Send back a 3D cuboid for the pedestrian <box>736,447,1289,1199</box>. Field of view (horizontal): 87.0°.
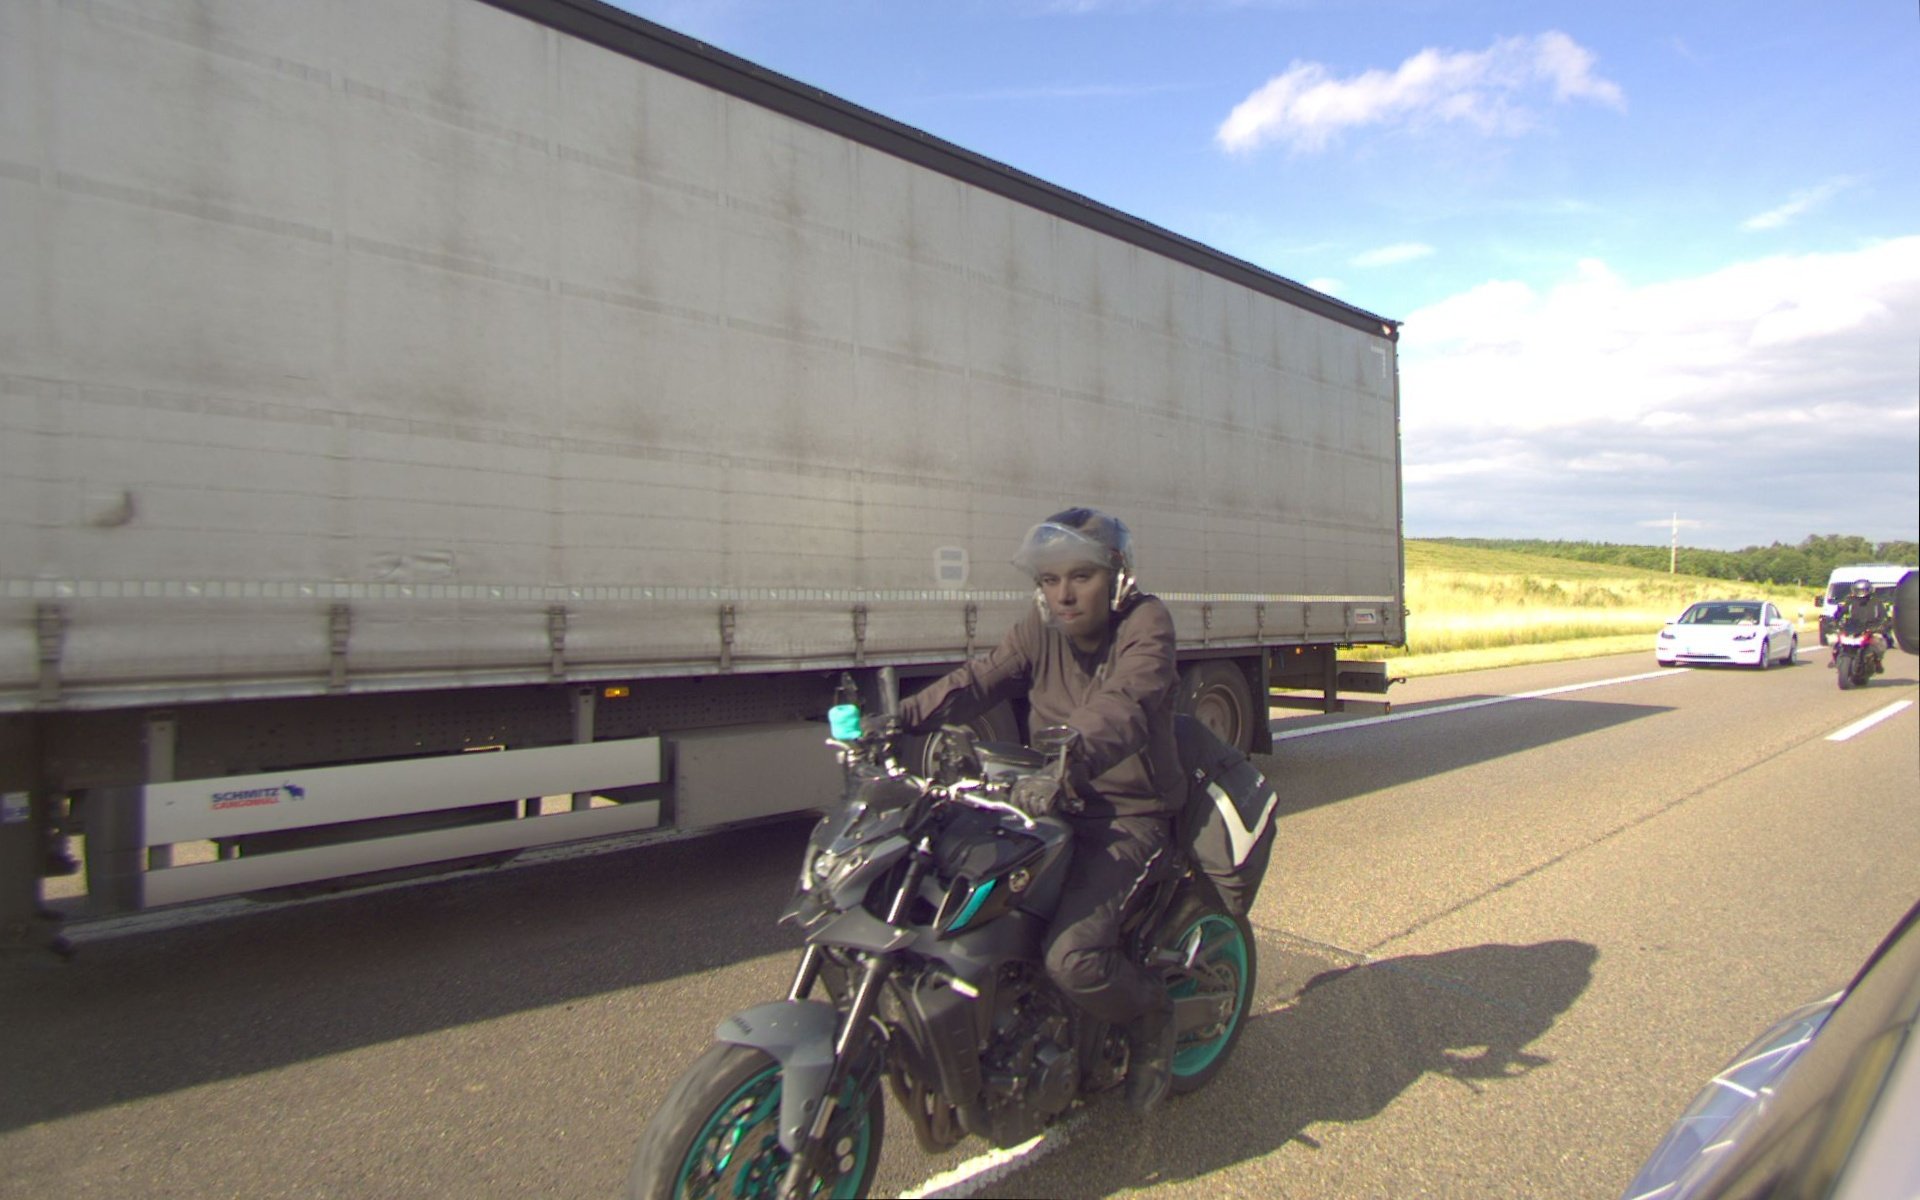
[{"bbox_3d":[0.117,0.462,2.403,0.966,1.474,0.897,0,1,-41],"label":"pedestrian"}]

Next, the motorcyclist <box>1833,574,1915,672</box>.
[{"bbox_3d":[14.968,0.349,16.575,0.848,1.548,0.897,0,1,-41],"label":"motorcyclist"}]

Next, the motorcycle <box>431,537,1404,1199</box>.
[{"bbox_3d":[0.089,0.635,2.386,2.230,1.474,0.897,-1,1,-41],"label":"motorcycle"}]

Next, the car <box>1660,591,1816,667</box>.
[{"bbox_3d":[16.944,0.546,21.967,4.384,1.435,1.870,-1,1,-41],"label":"car"}]

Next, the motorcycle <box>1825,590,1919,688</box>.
[{"bbox_3d":[14.952,0.587,16.566,2.230,1.474,0.897,-1,1,-41],"label":"motorcycle"}]

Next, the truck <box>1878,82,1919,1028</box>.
[{"bbox_3d":[8.085,-0.121,6.216,10.970,3.199,2.499,0,0,-42],"label":"truck"}]

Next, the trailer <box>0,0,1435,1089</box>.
[{"bbox_3d":[-1.494,-0.649,5.883,13.462,4.091,2.621,0,1,-42],"label":"trailer"}]

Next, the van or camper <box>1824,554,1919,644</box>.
[{"bbox_3d":[29.292,-0.090,31.977,6.301,2.576,2.100,-1,1,-41],"label":"van or camper"}]
